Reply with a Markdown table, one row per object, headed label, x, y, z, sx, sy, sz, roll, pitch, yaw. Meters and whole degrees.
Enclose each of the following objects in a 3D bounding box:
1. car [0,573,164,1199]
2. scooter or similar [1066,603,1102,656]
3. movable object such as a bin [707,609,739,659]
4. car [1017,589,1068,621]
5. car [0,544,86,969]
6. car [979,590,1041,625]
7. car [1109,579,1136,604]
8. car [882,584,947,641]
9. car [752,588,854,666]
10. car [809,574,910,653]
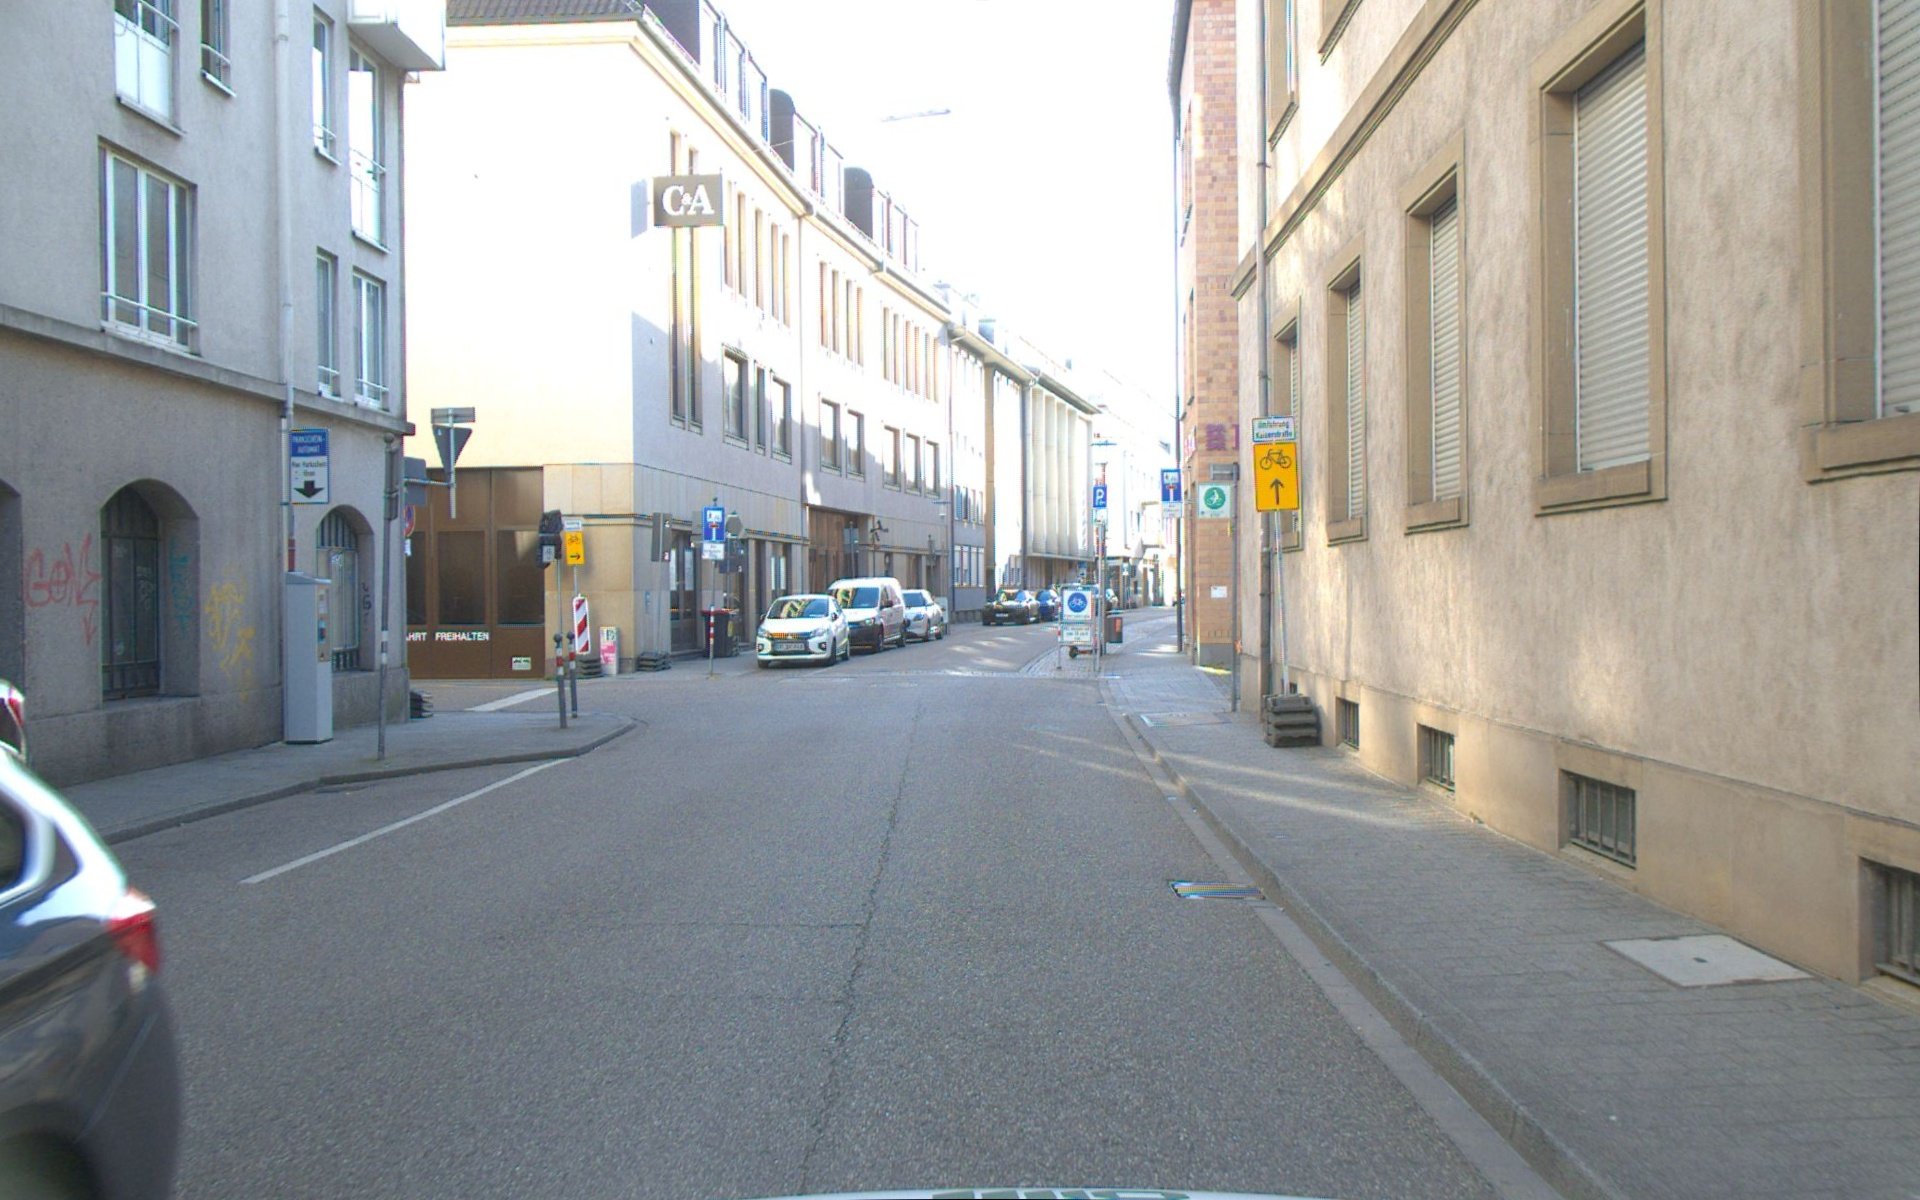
| label | x | y | z | sx | sy | sz | roll | pitch | yaw |
| --- | --- | --- | --- | --- | --- | --- | --- | --- | --- |
| car | -2.205 | 0.772 | 1.232 | 1.682 | 1.605 | 4.183 | -1 | 0 | -8 |
| scooter or similar | 2.782 | 0.656 | 37.112 | 0.754 | 1.156 | 0.269 | 2 | 0 | 5 |
| movable object such as a bin | -5.328 | 0.758 | 37.168 | 0.596 | 1.079 | 0.713 | 2 | 0 | -1 |
| car | 3.753 | 0.202 | 74.748 | 1.687 | 1.364 | 4.004 | -1 | 0 | 12 |
| car | -4.834 | 0.696 | 5.300 | 1.704 | 1.740 | 4.191 | -3 | 0 | 1 |
| car | 2.098 | 0.290 | 68.449 | 1.841 | 1.355 | 4.104 | -1 | 0 | 12 |
| car | 10.321 | -0.556 | 105.066 | 1.310 | 1.520 | 3.350 | -1 | 0 | 12 |
| car | -1.297 | 0.329 | 47.933 | 1.244 | 1.533 | 3.405 | -2 | 0 | 9 |
| car | -3.360 | 0.547 | 35.945 | 1.635 | 1.533 | 3.795 | -2 | 0 | 3 |
| car | -2.470 | 0.302 | 41.783 | 1.635 | 1.850 | 4.556 | -2 | 0 | 8 |
